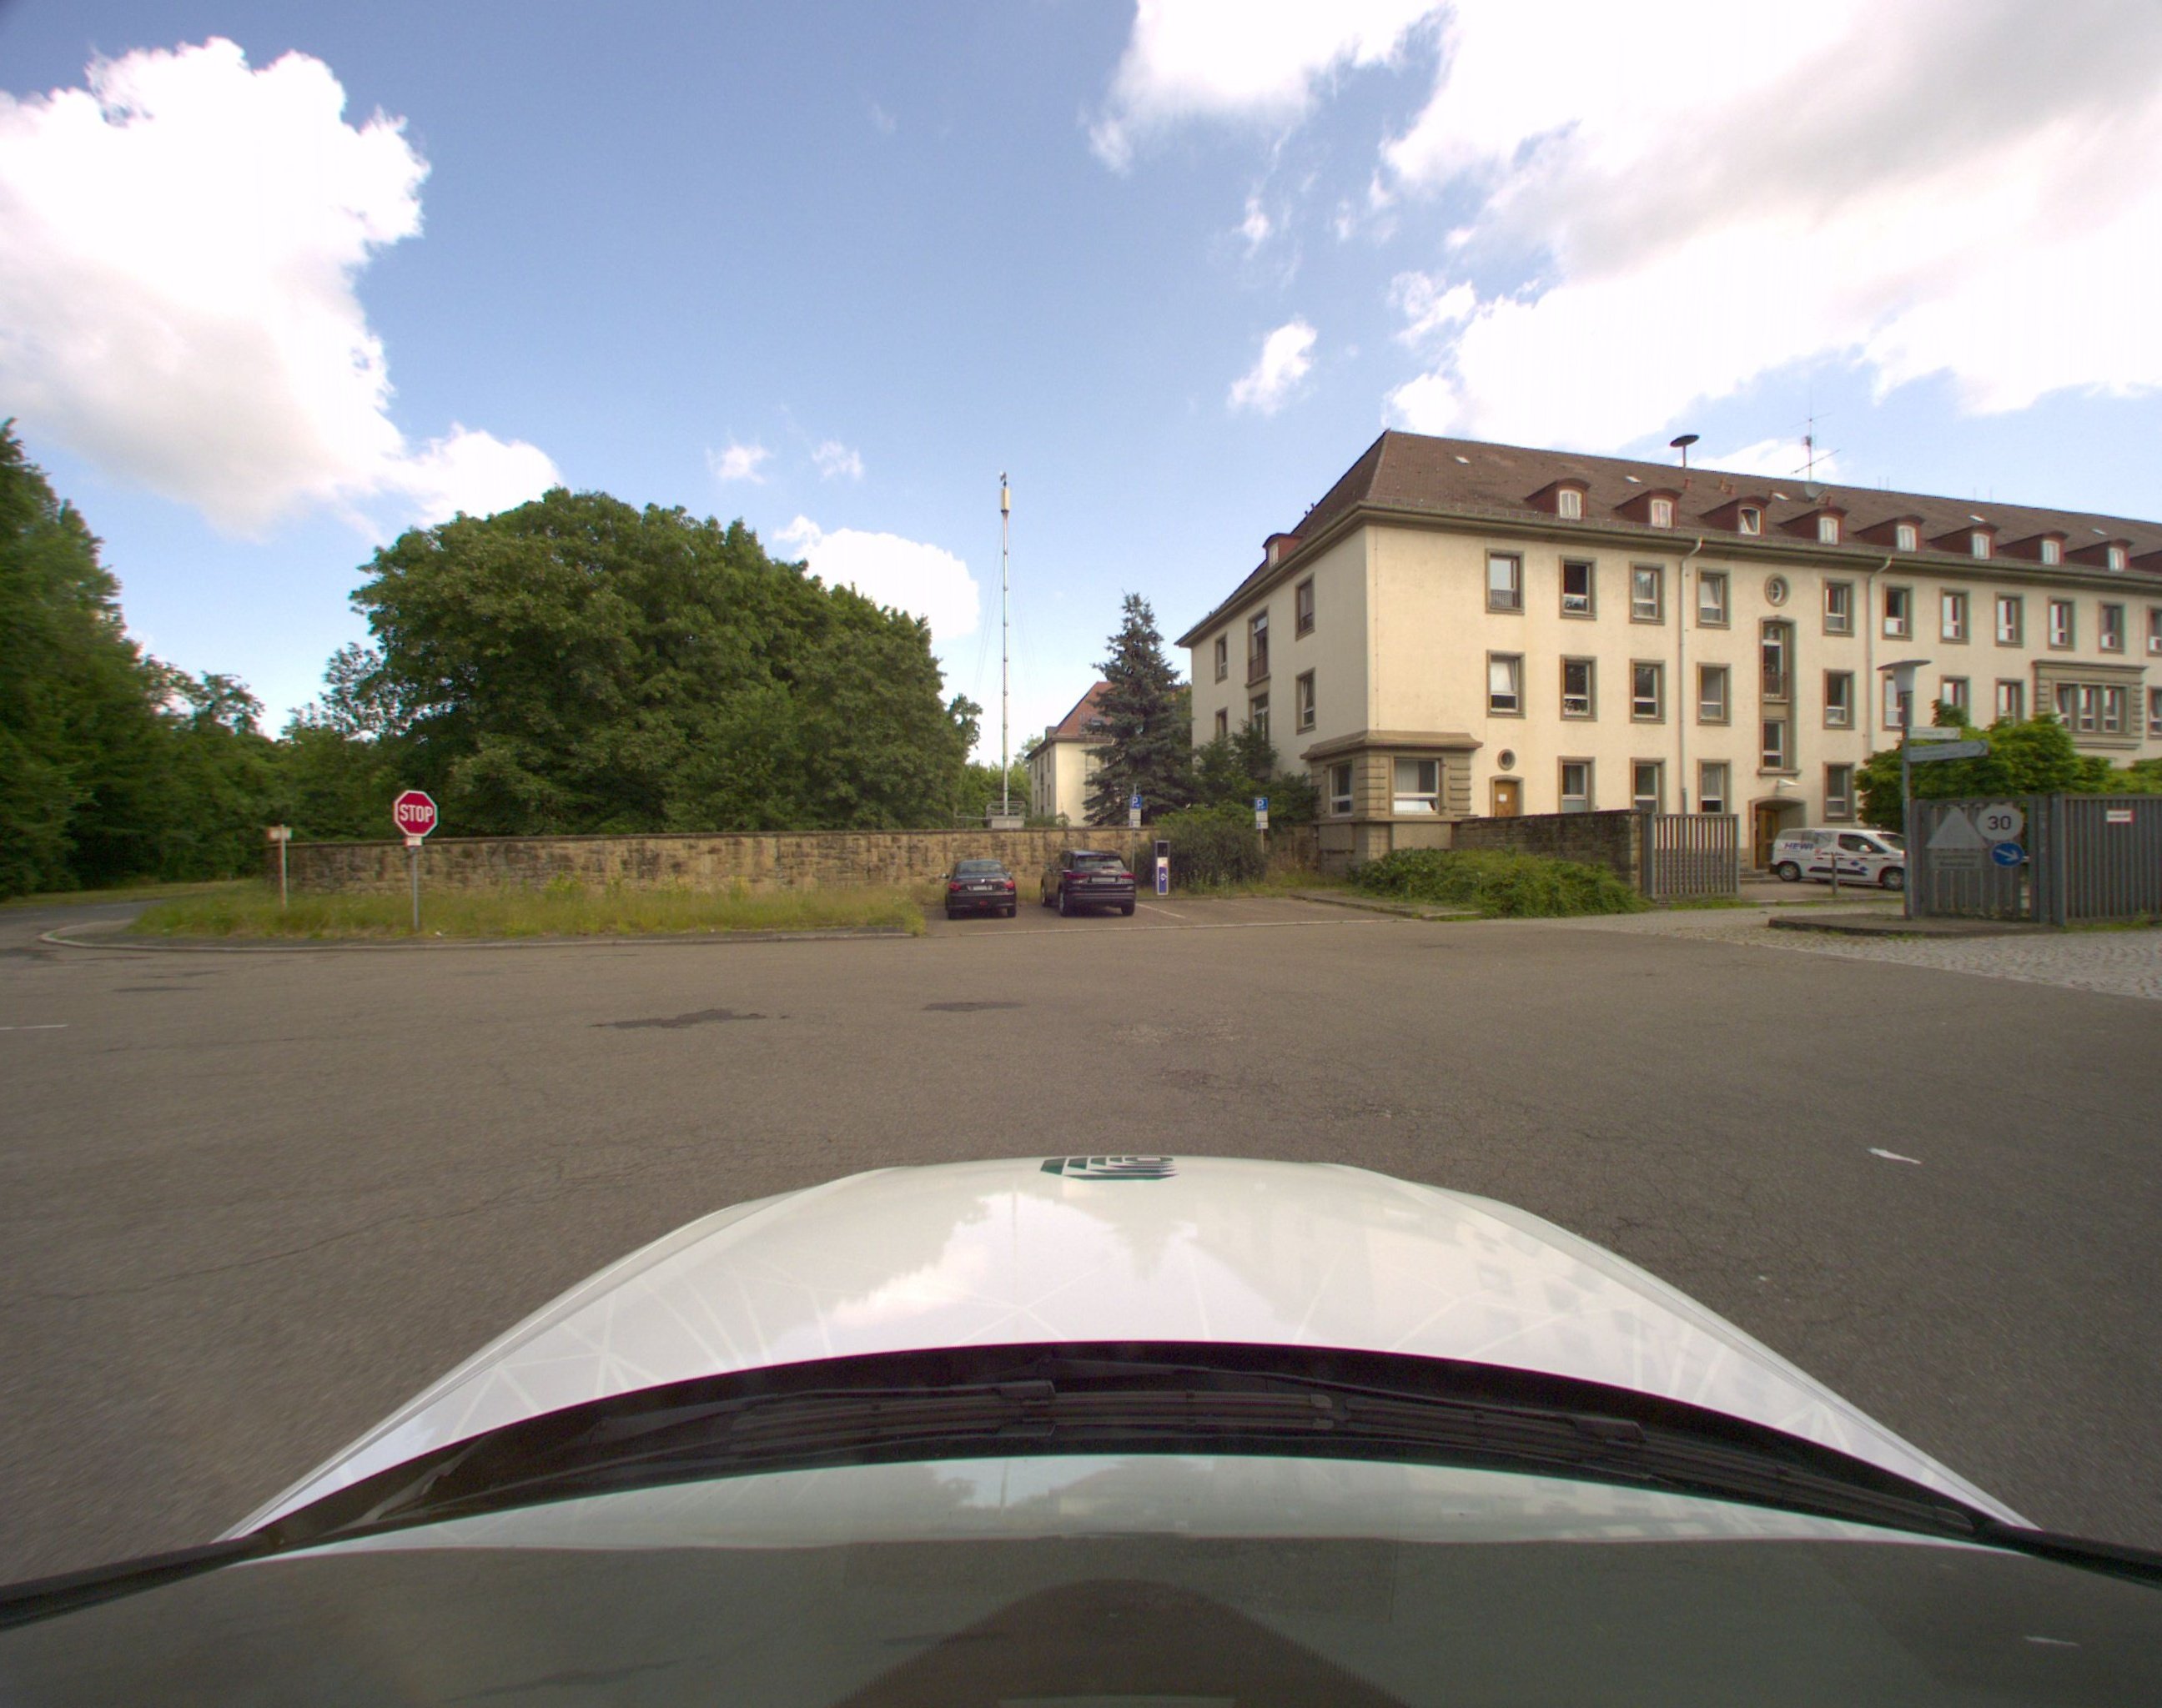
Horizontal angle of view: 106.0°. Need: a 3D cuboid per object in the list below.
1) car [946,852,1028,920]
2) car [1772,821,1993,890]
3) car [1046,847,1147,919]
[{"bbox_3d":[-2.472,0.731,20.891,1.873,1.441,3.988,-1,2,-9],"label":"car"},{"bbox_3d":[24.220,-0.051,24.861,1.856,1.750,4.429,-1,4,-15],"label":"car"},{"bbox_3d":[0.286,0.646,20.893,1.893,1.546,3.988,-1,2,-9],"label":"car"}]
